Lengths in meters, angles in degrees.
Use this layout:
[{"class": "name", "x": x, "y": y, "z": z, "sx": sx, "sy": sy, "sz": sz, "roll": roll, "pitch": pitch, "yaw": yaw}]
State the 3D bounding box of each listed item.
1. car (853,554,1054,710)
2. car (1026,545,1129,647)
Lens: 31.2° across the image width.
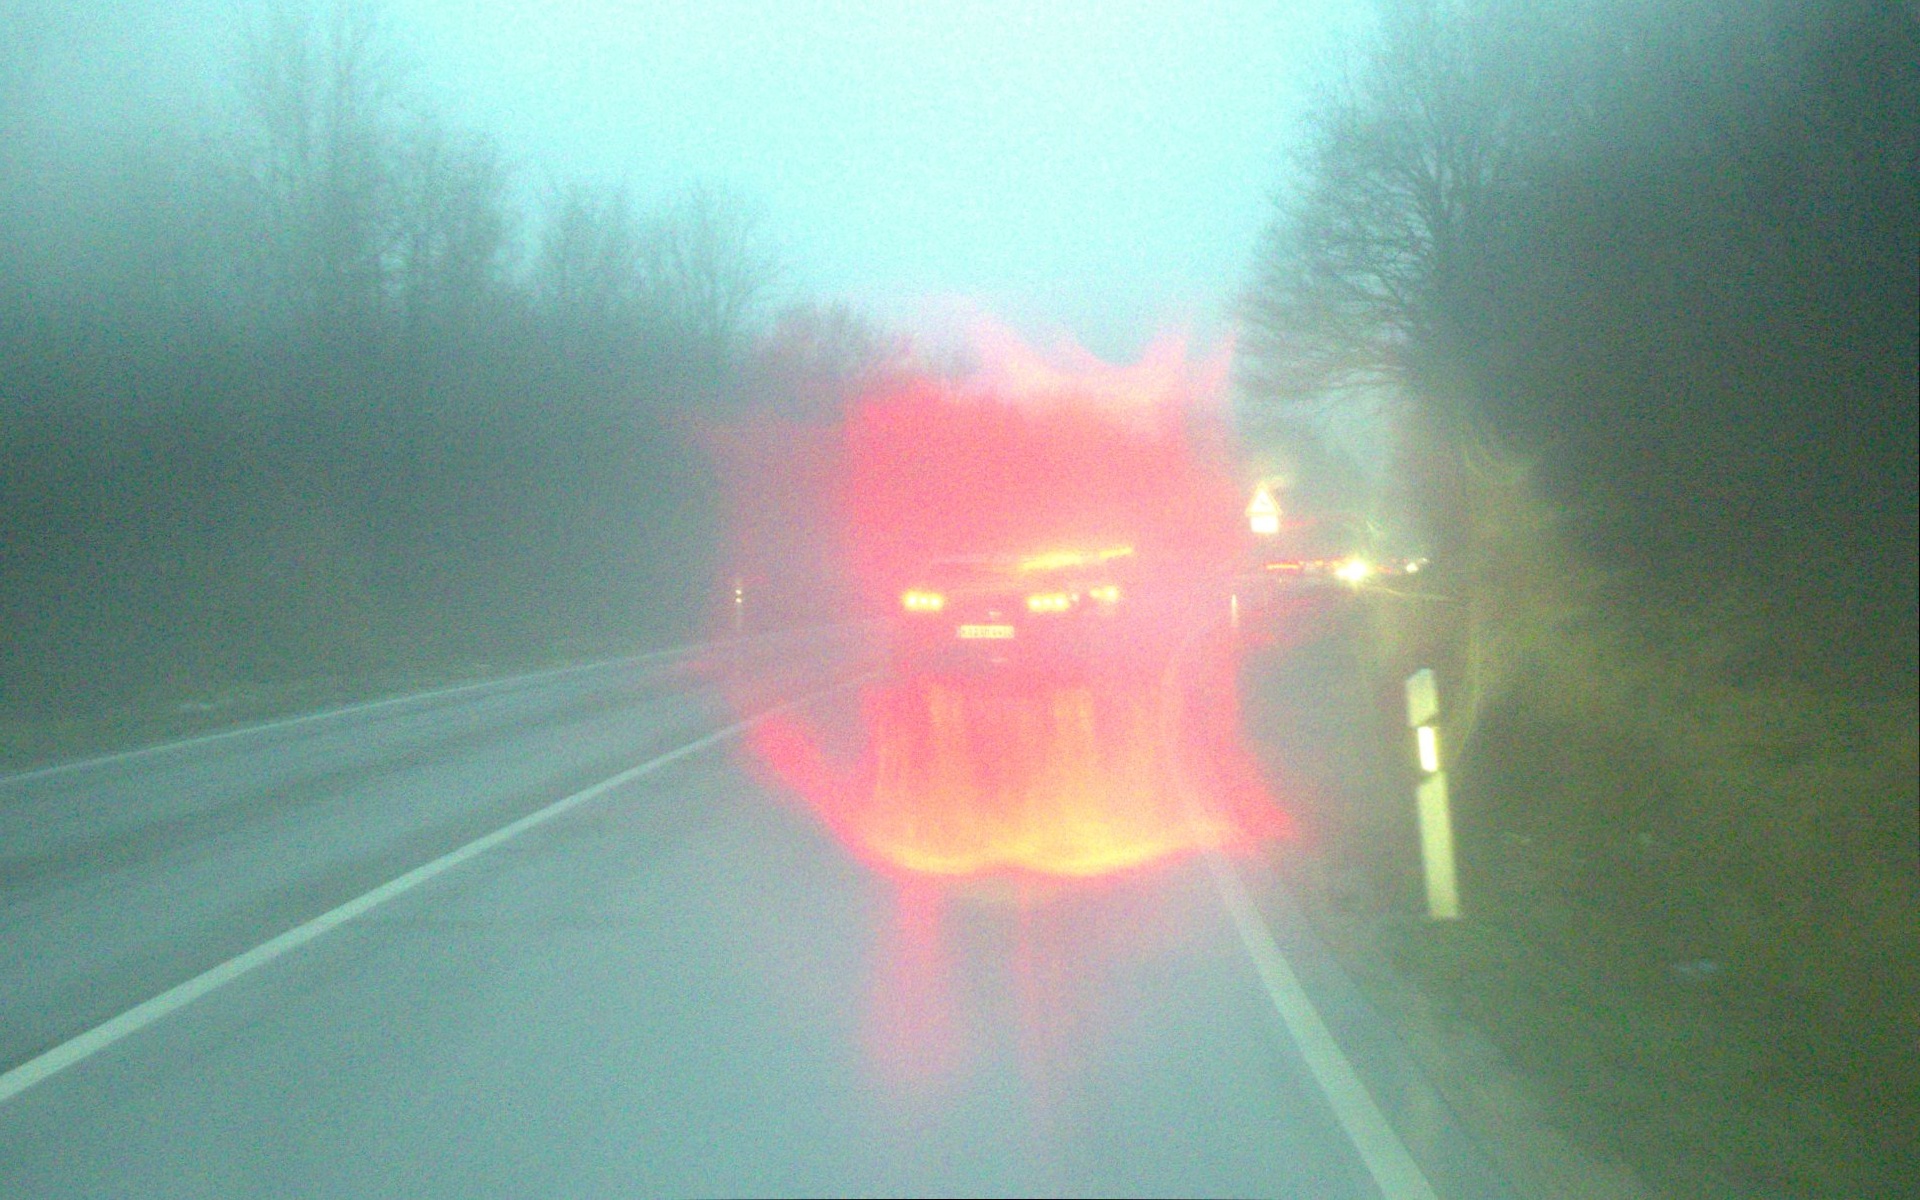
[{"class": "car", "x": -0.004, "y": 0.268, "z": 32.672, "sx": 1.679, "sy": 1.385, "sz": 4.098, "roll": 0, "pitch": 0, "yaw": 3}, {"class": "car", "x": 1.982, "y": -0.087, "z": 58.331, "sx": 1.679, "sy": 1.669, "sz": 4.098, "roll": 0, "pitch": 0, "yaw": 2}]
